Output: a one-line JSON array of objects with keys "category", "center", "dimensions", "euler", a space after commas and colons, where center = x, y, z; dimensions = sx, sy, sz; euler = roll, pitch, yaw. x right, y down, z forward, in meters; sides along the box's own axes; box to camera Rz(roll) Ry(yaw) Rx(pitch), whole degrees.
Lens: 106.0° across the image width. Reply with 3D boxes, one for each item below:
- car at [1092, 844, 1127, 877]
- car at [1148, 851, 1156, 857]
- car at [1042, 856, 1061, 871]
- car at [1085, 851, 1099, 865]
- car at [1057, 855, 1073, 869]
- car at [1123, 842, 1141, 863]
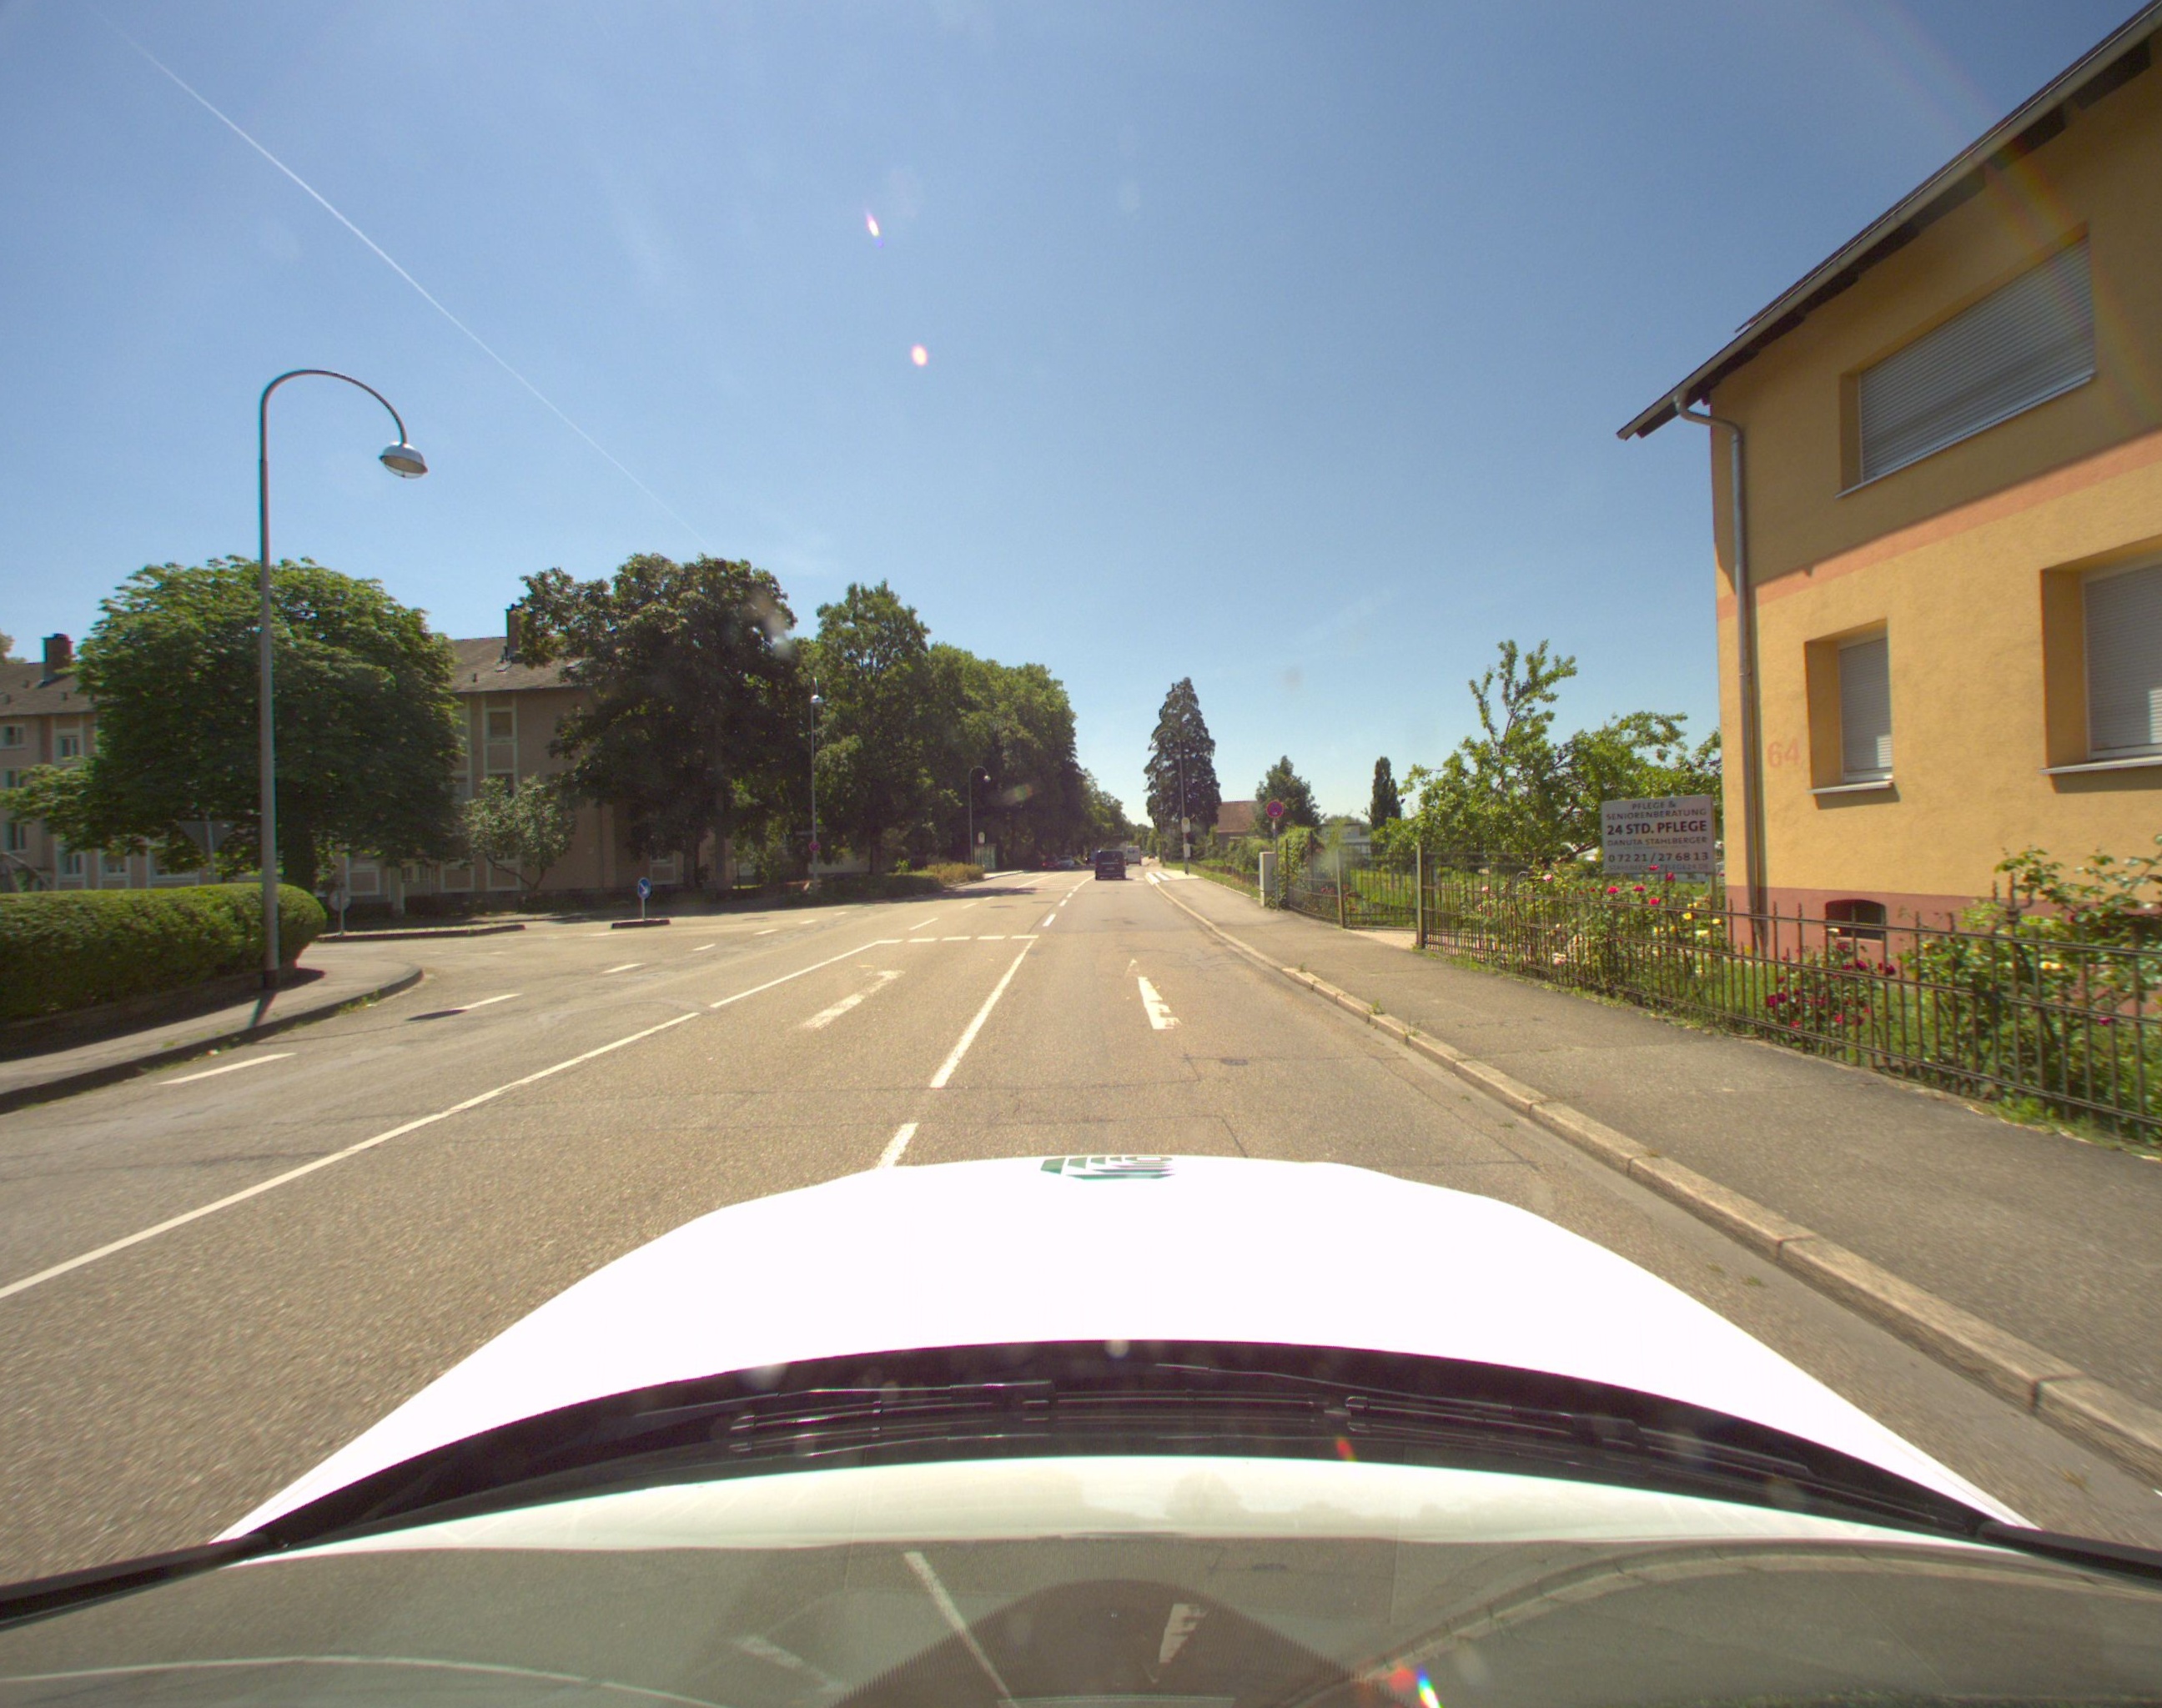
[{"category": "car", "center": [1.727, 0.367, 50.301], "dimensions": [1.987, 1.893, 4.000], "euler": [-1, 1, 0]}, {"category": "car", "center": [19.747, 0.056, 227.040], "dimensions": [1.850, 1.643, 4.002], "euler": [-1, 1, 2]}, {"category": "car", "center": [-2.890, 0.936, 80.052], "dimensions": [1.544, 1.450, 3.693], "euler": [-1, 0, 3]}, {"category": "car", "center": [1.643, 0.580, 124.655], "dimensions": [1.988, 1.909, 4.987], "euler": [-1, 1, -2]}, {"category": "car", "center": [-1.743, 0.882, 89.284], "dimensions": [1.687, 1.460, 3.636], "euler": [-1, 1, -3]}, {"category": "car", "center": [6.784, -0.230, 108.448], "dimensions": [2.112, 2.677, 5.663], "euler": [-1, 1, 1]}]
